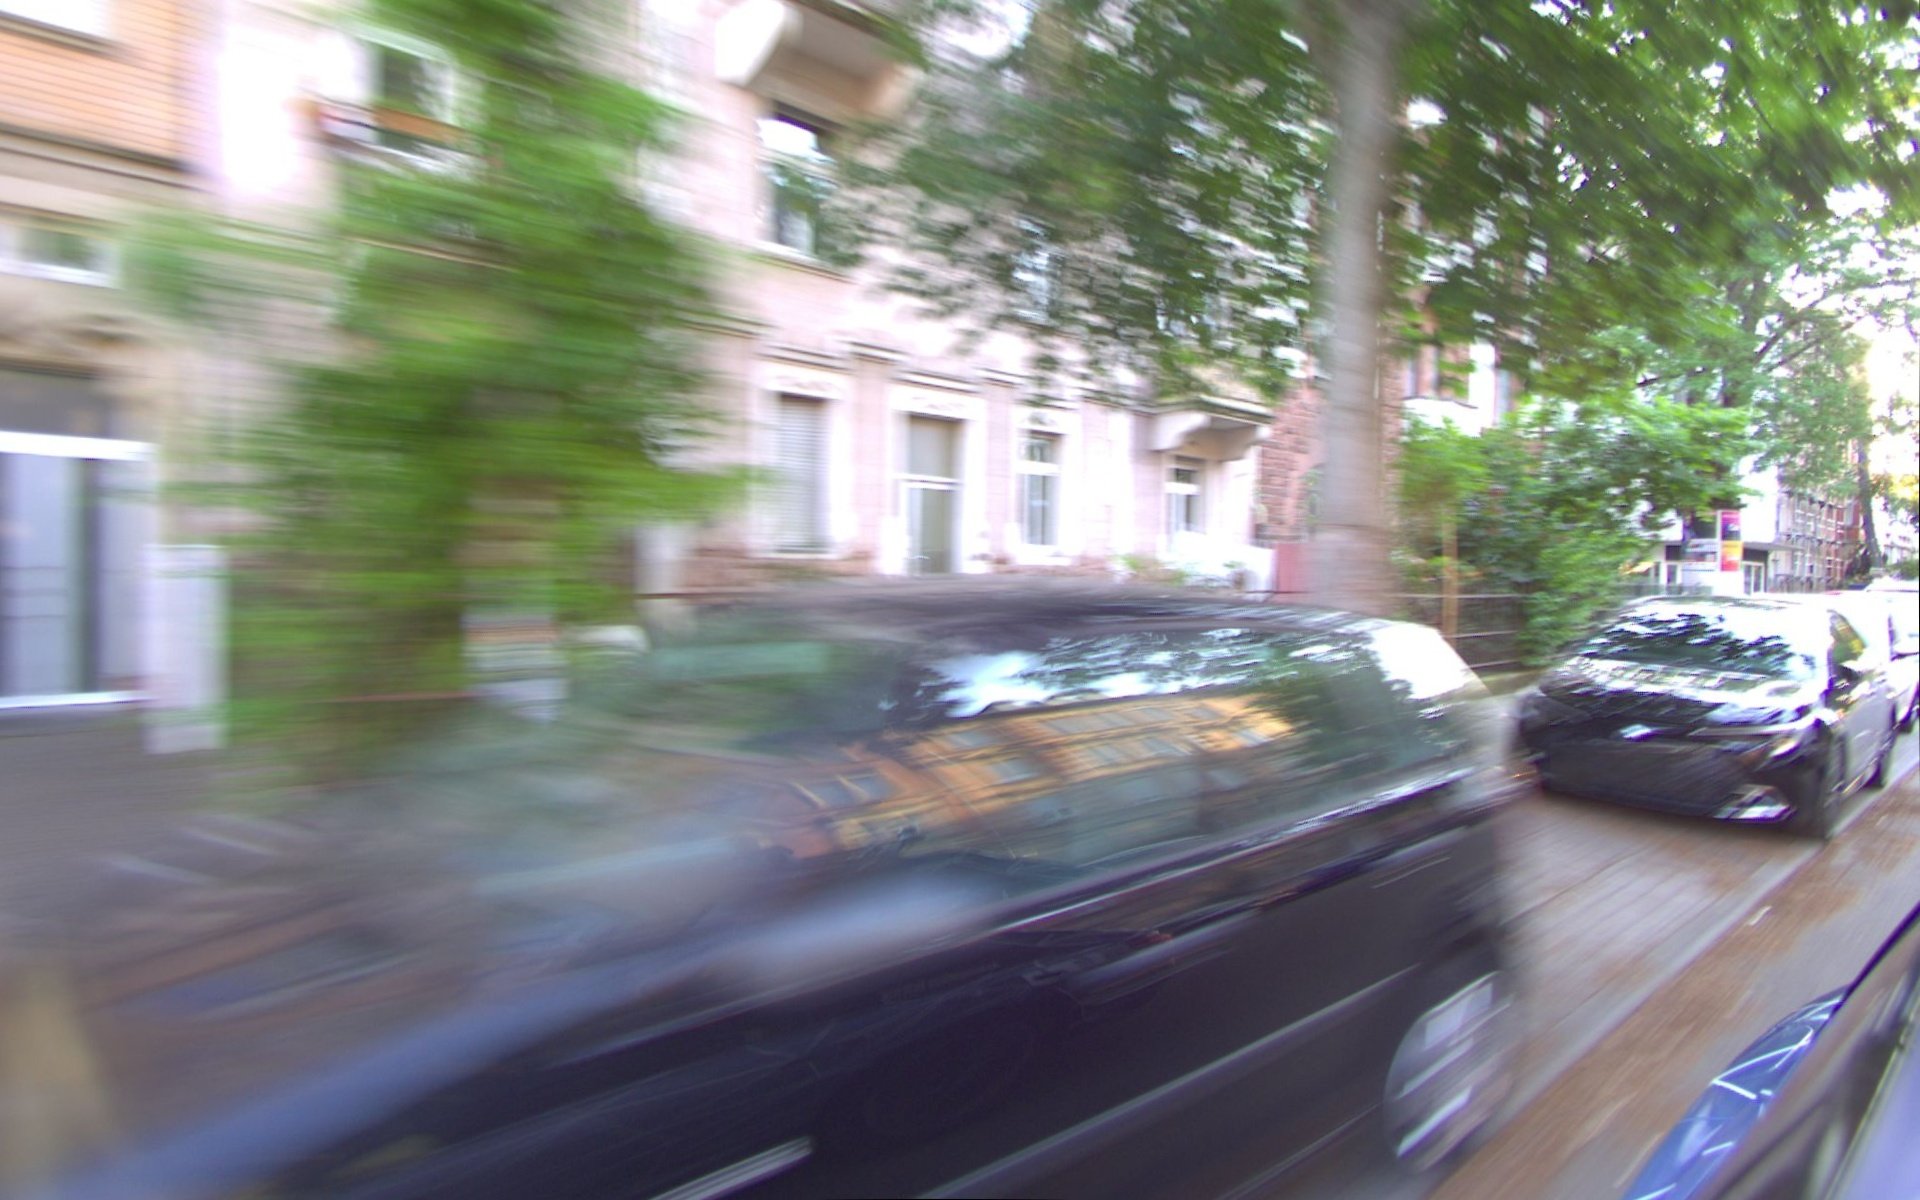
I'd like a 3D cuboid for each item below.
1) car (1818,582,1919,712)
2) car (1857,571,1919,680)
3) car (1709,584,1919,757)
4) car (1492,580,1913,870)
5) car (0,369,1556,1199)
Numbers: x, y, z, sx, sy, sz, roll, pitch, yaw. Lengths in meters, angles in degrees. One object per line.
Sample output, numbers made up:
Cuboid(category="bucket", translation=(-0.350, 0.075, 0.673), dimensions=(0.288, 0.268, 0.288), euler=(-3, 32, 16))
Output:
Cuboid(category="car", translation=(12.719, 0.552, 13.548), dimensions=(3.282, 1.567, 1.500), euler=(-1, 1, -43))
Cuboid(category="car", translation=(16.791, 0.380, 17.328), dimensions=(4.098, 1.723, 1.734), euler=(-1, 1, -43))
Cuboid(category="car", translation=(9.366, 0.594, 10.831), dimensions=(3.863, 1.525, 1.477), euler=(-1, 1, -43))
Cuboid(category="car", translation=(5.571, 0.625, 7.385), dimensions=(4.093, 1.525, 1.734), euler=(-1, 1, -43))
Cuboid(category="car", translation=(-0.237, 0.565, 2.290), dimensions=(3.537, 1.544, 1.590), euler=(-1, 0, -39))
